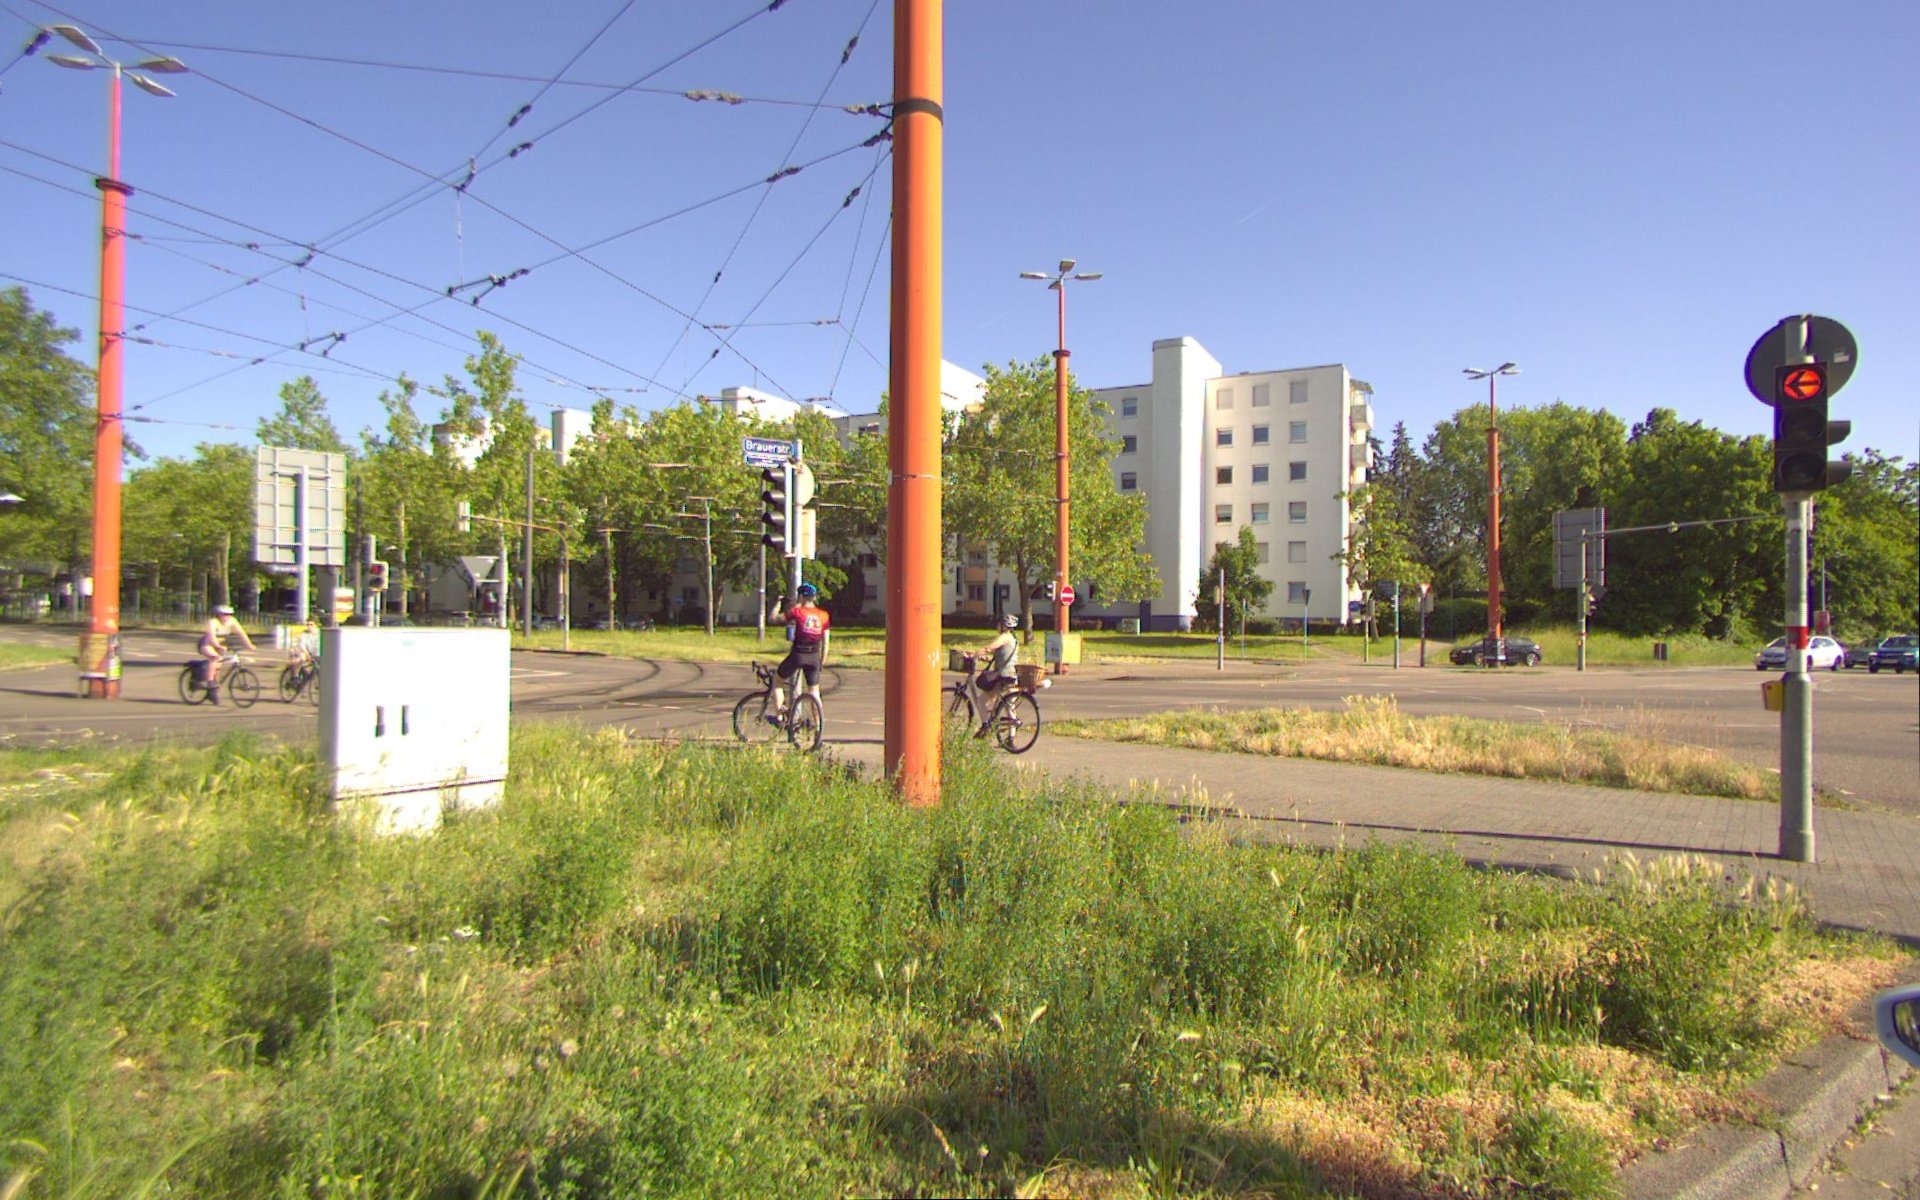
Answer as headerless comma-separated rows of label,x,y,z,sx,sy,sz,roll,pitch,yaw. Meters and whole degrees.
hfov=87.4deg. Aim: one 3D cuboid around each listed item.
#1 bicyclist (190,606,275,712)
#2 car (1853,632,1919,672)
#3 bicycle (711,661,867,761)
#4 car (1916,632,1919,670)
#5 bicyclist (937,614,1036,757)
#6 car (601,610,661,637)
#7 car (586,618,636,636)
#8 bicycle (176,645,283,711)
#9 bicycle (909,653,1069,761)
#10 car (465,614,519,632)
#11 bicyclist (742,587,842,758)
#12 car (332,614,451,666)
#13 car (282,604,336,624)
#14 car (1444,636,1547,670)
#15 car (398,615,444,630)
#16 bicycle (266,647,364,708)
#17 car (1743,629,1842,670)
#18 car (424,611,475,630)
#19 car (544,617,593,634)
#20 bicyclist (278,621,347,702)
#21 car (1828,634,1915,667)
bicyclist,-13.587,1.080,18.779,0.905,1.892,0.893,2,0,17
car,37.308,2.042,39.767,3.813,1.535,1.793,1,-3,-30
bicycle,-2.064,1.283,12.007,1.883,1.085,0.690,-2,-2,33
car,42.618,2.171,42.717,3.955,1.575,1.891,2,-2,-32
bicyclist,0.325,1.001,12.231,0.815,1.643,0.888,0,-1,41
car,-23.656,1.698,72.300,3.874,1.841,1.651,2,0,-13
car,-25.821,1.991,74.317,3.279,1.149,1.321,2,0,-11
bicycle,-13.631,1.436,18.737,1.877,1.086,0.580,2,0,17
bicycle,0.326,1.250,12.189,1.887,1.146,0.737,0,-1,41
car,-38.829,1.913,83.392,3.665,1.349,1.496,2,0,-8
bicyclist,-1.998,0.841,11.966,0.974,1.938,0.685,-1,-2,33
car,-19.259,1.312,33.992,3.977,1.516,1.913,2,0,34
car,-66.290,1.458,102.361,4.274,2.010,1.932,1,-1,-19
car,25.033,2.471,47.063,3.869,1.522,1.840,0,-2,8
car,-46.615,1.920,86.959,3.370,1.204,1.439,2,0,-23
bicycle,-12.847,1.533,20.001,1.878,1.086,0.580,2,0,19
car,35.377,2.113,42.689,4.168,1.673,1.869,2,-3,-29
car,-43.248,1.757,85.104,3.592,1.480,1.608,2,0,-19
car,-29.318,1.885,75.344,3.219,1.172,1.357,2,0,-12
bicyclist,-12.885,1.199,20.008,0.906,1.545,0.720,2,0,20
car,43.147,2.377,47.534,3.952,1.533,1.877,1,-2,-29
